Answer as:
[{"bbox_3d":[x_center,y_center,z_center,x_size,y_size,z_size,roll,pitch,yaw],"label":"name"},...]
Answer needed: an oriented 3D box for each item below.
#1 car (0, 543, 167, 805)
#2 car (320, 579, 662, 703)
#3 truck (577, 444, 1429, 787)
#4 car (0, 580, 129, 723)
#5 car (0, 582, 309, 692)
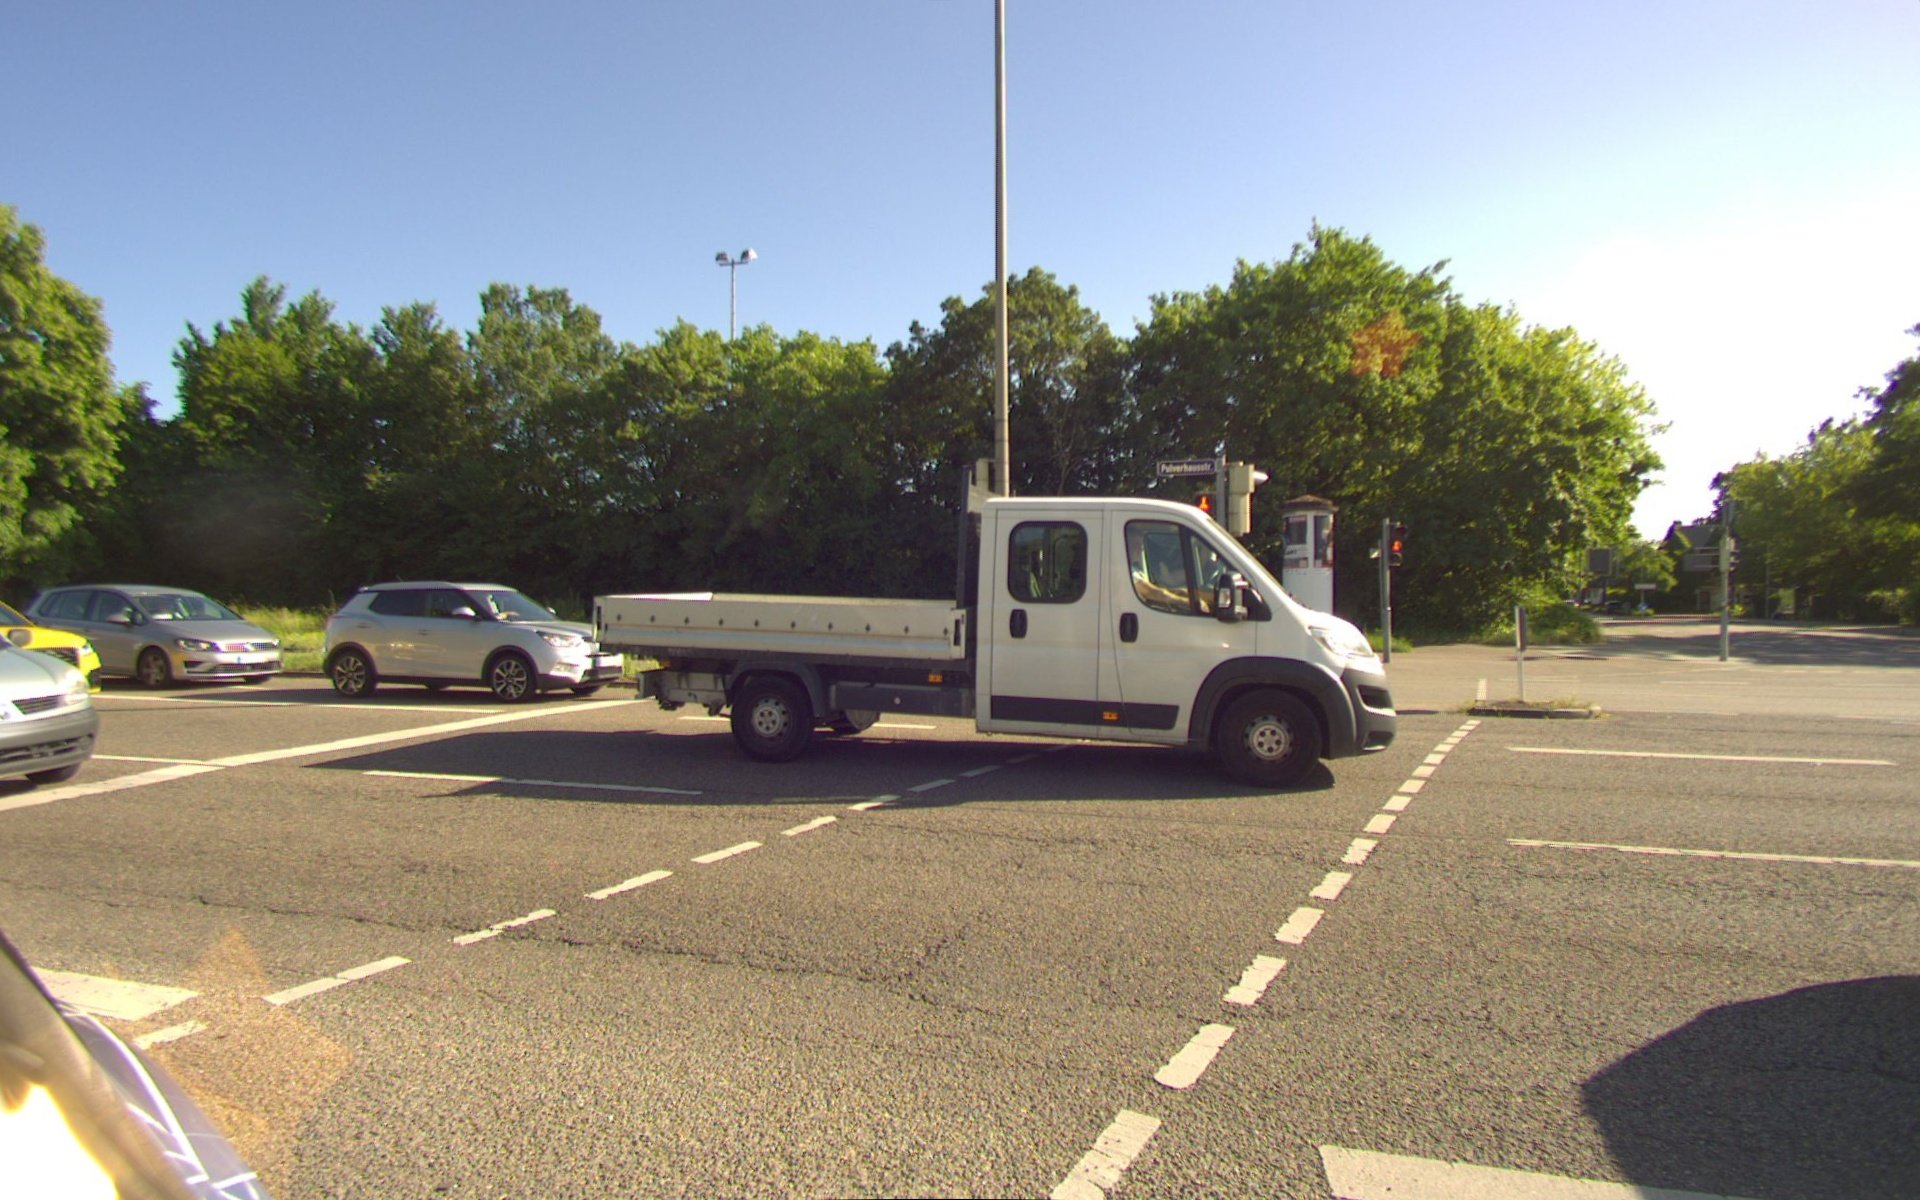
[{"bbox_3d":[-8.428,0.480,7.489,4.328,1.741,1.910,0,2,18],"label":"car"},{"bbox_3d":[-6.481,0.518,14.103,4.157,1.549,1.827,0,-1,16],"label":"car"},{"bbox_3d":[0.225,0.106,8.832,6.712,2.327,2.181,0,0,15],"label":"truck"},{"bbox_3d":[-12.075,0.544,11.875,3.967,1.512,1.718,0,2,18],"label":"car"},{"bbox_3d":[-12.838,0.528,16.116,4.205,1.586,1.870,0,0,16],"label":"car"}]
